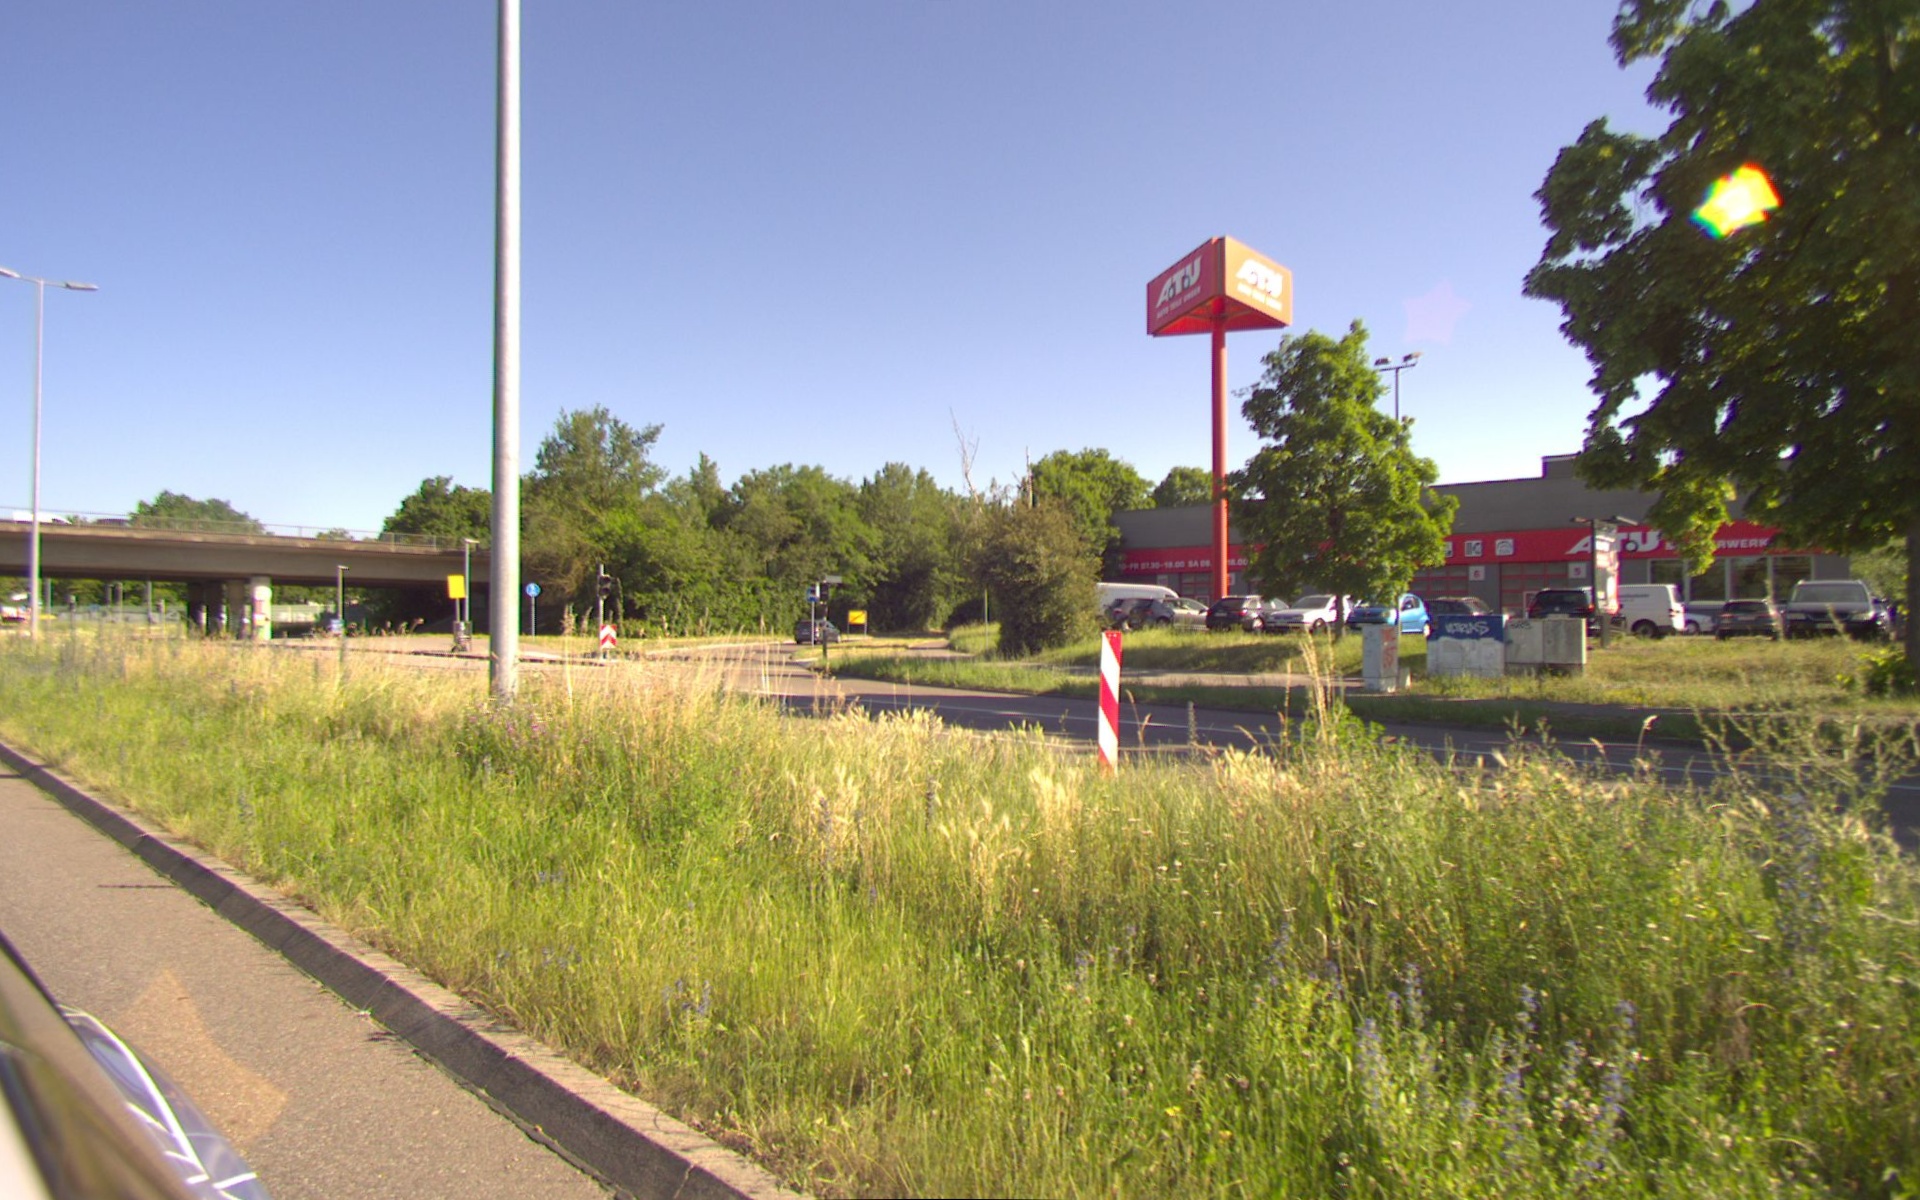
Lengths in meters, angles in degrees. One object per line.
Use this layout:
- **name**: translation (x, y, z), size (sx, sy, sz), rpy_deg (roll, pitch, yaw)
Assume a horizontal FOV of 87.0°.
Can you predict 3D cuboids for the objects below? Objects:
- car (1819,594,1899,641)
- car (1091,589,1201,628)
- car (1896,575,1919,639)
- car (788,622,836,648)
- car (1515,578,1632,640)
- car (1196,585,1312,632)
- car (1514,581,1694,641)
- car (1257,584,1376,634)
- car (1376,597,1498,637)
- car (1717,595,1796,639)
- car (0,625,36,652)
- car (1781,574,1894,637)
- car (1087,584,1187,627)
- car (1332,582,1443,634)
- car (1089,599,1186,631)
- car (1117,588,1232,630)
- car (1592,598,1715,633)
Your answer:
- **car**: translation (30.276, 0.610, 34.040), size (1.895, 1.466, 4.073), rpy_deg (-1, -2, 43)
- **car**: translation (7.703, 0.374, 41.967), size (4.060, 1.563, 1.901), rpy_deg (0, -1, -18)
- **car**: translation (22.864, 0.172, 22.984), size (1.943, 1.399, 4.079), rpy_deg (-1, -2, 37)
- **car**: translation (-8.751, 2.065, 60.241), size (1.765, 1.436, 4.372), rpy_deg (1, -1, 7)
- **car**: translation (16.954, 0.279, 27.904), size (1.947, 1.563, 4.072), rpy_deg (-1, -2, 43)
- **car**: translation (10.409, 0.333, 35.763), size (4.064, 1.563, 1.900), rpy_deg (1, -2, -37)
- **car**: translation (22.723, 0.417, 35.882), size (5.131, 1.971, 1.759), rpy_deg (-1, -2, 45)
- **car**: translation (11.949, 0.327, 33.856), size (4.065, 1.563, 1.899), rpy_deg (1, -2, -39)
- **car**: translation (18.547, 0.673, 39.459), size (3.983, 1.466, 1.760), rpy_deg (-1, -2, 42)
- **car**: translation (28.502, 0.615, 36.165), size (1.895, 1.466, 4.073), rpy_deg (-1, -2, 43)
- **car**: translation (-53.968, 2.153, 57.557), size (4.101, 1.455, 1.616), rpy_deg (-1, -2, 41)
- **car**: translation (21.438, 0.176, 24.850), size (1.945, 1.399, 4.077), rpy_deg (-1, -2, 39)
- **car**: translation (9.074, 0.303, 52.178), size (4.989, 2.168, 1.890), rpy_deg (0, -1, 9)
- **car**: translation (13.617, 0.289, 32.153), size (4.070, 1.563, 1.820), rpy_deg (1, -2, -45)
- **car**: translation (8.317, 0.718, 47.502), size (4.061, 1.466, 1.901), rpy_deg (0, -1, -17)
- **car**: translation (8.281, 0.380, 39.039), size (4.060, 1.563, 1.901), rpy_deg (1, -2, -27)
- **car**: translation (30.533, 0.696, 44.623), size (4.286, 1.466, 1.869), rpy_deg (-1, -2, 42)
